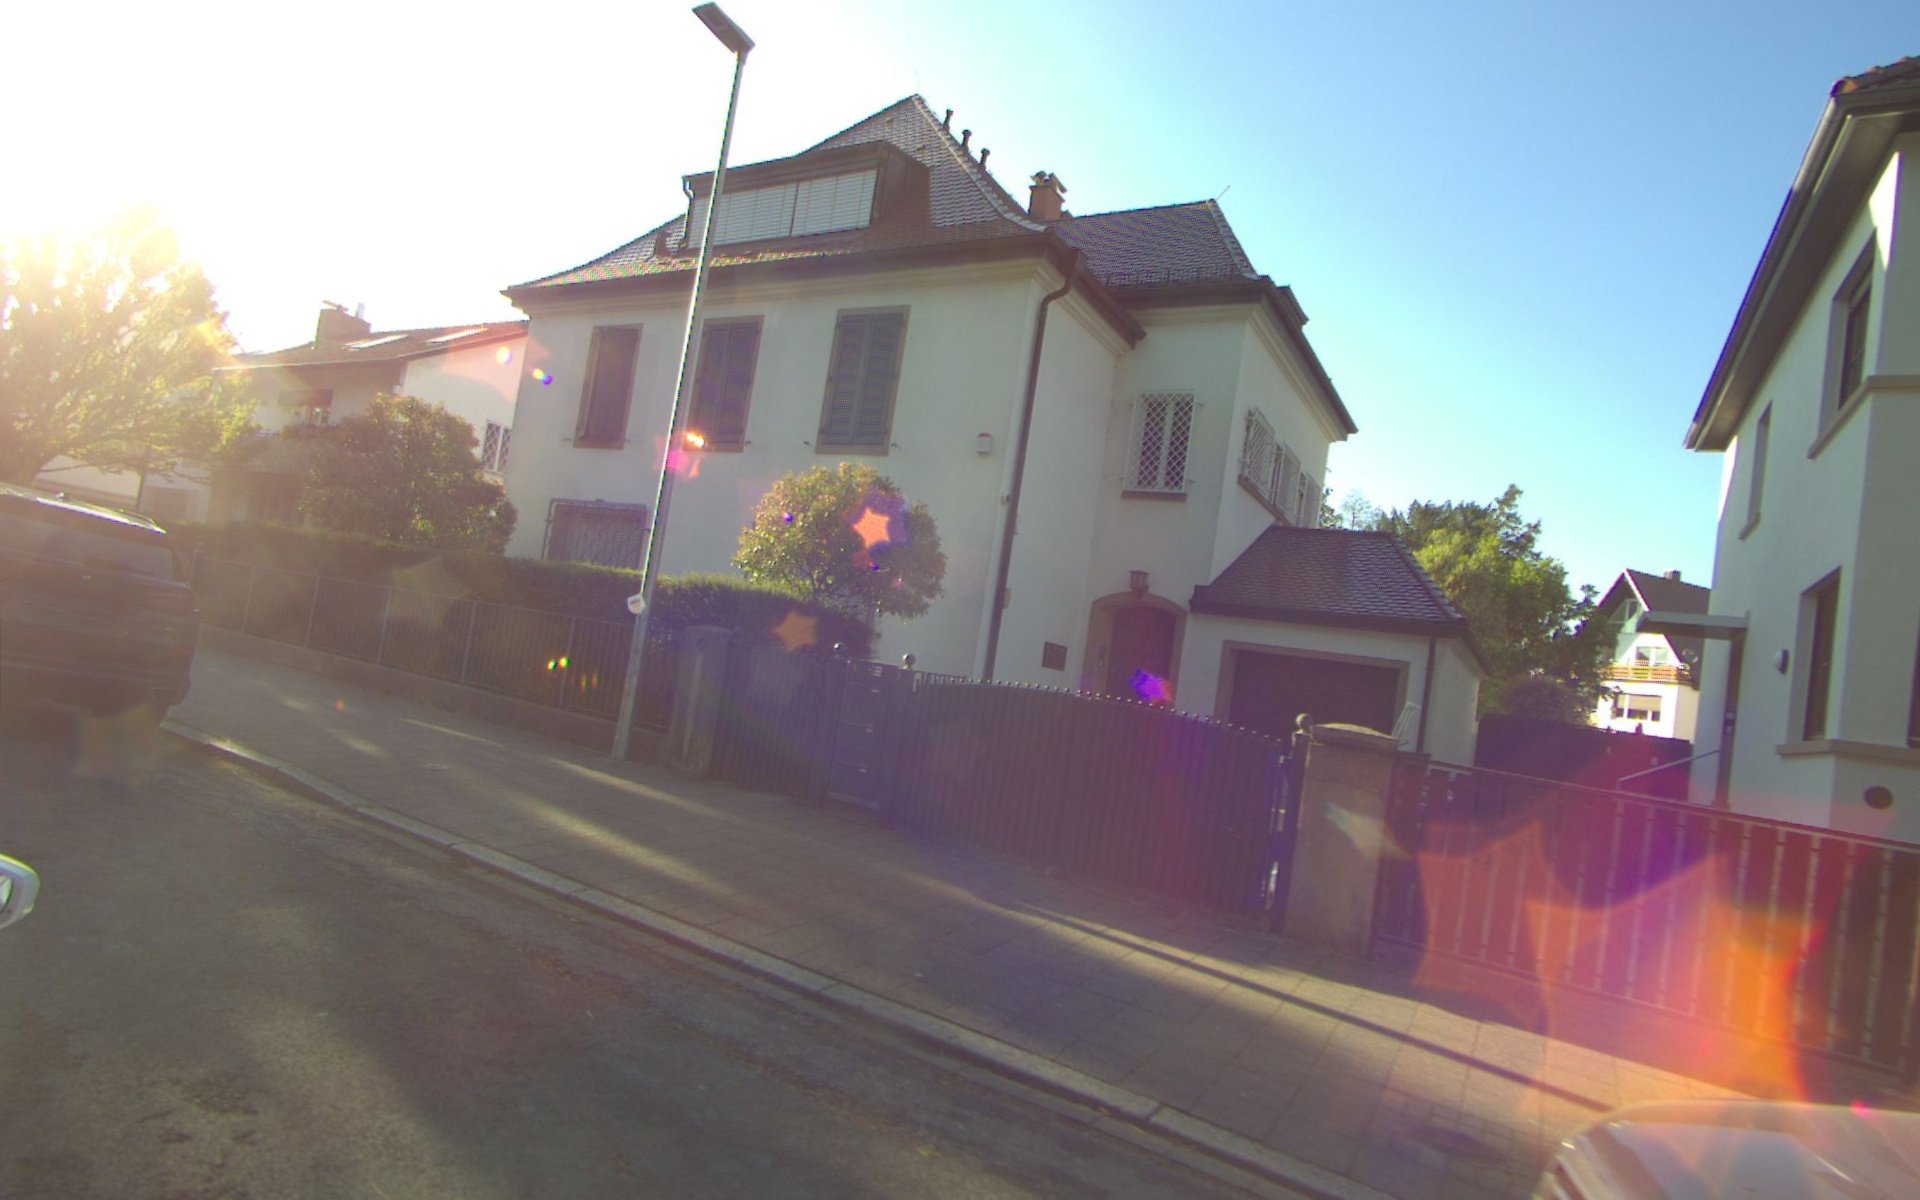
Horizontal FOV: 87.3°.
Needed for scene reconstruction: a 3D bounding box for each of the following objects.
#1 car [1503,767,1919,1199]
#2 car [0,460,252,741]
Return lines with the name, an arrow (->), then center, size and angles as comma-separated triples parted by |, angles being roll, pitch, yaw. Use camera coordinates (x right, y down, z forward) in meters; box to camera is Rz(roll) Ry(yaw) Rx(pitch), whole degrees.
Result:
car -> 3.140, 1.353, 1.042 | 4.517, 1.475, 1.789 | 6, -8, 31
car -> -8.277, -0.170, 8.317 | 4.784, 1.752, 2.003 | 6, -8, 32
